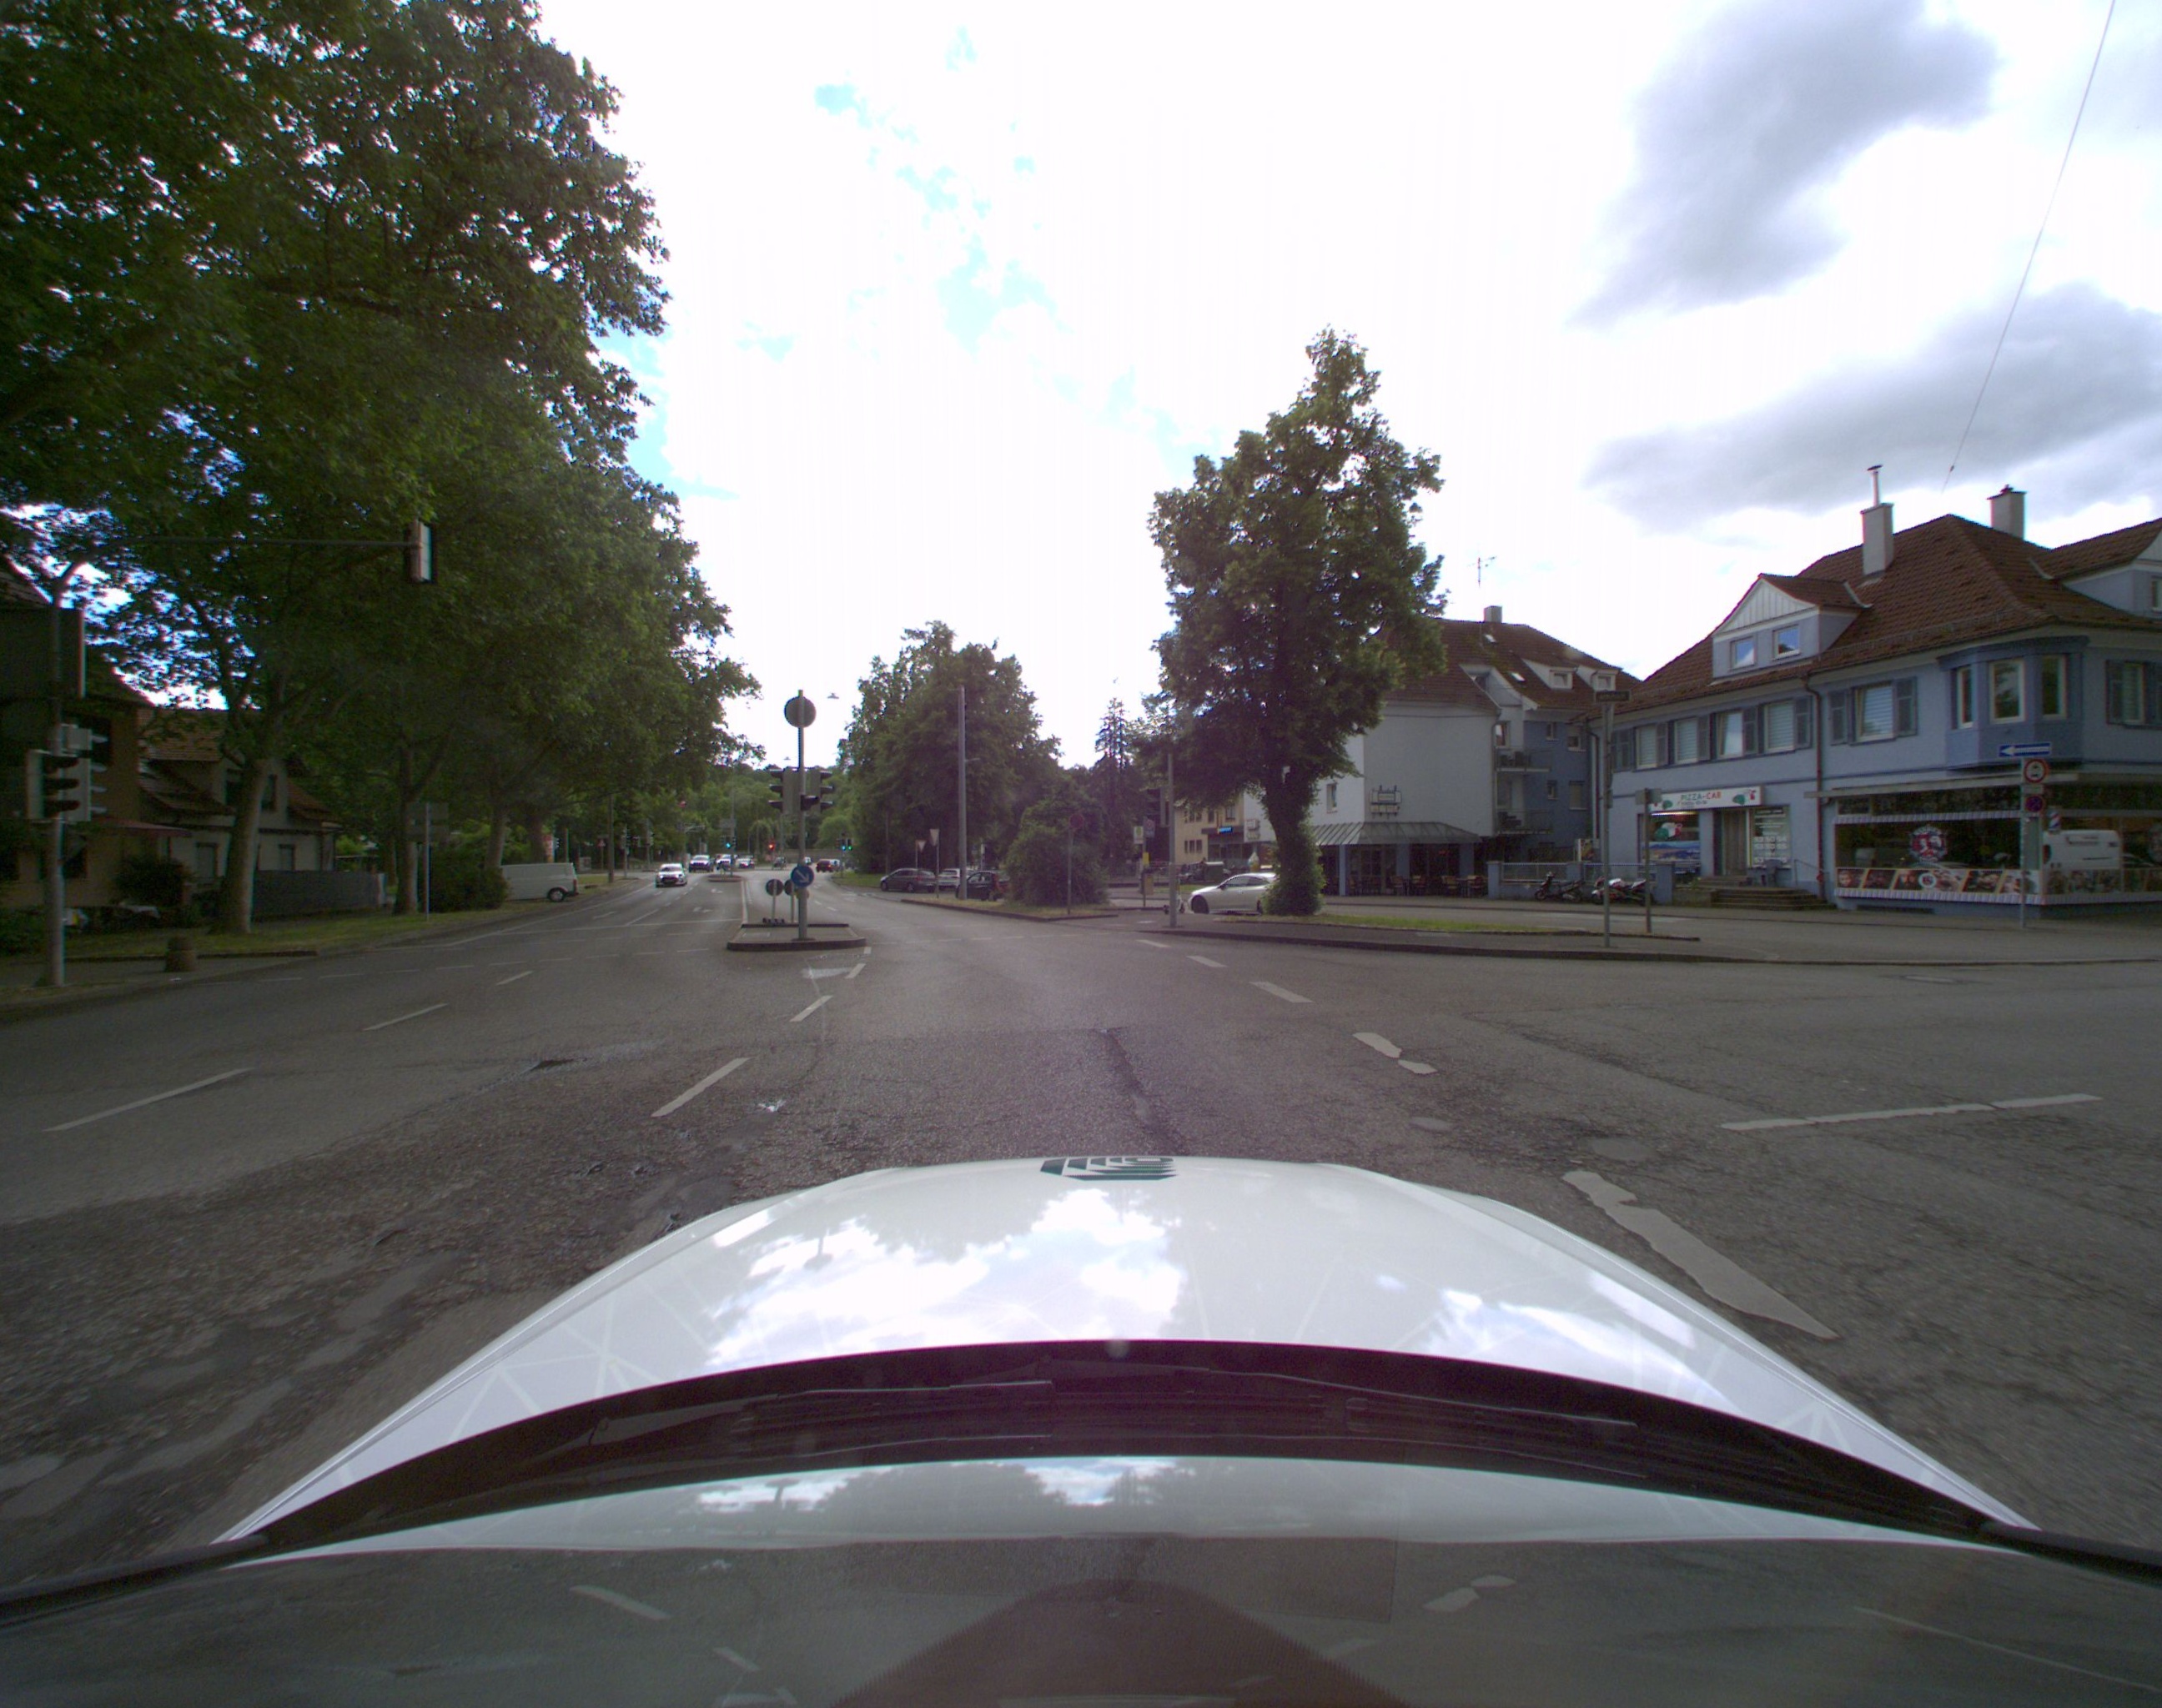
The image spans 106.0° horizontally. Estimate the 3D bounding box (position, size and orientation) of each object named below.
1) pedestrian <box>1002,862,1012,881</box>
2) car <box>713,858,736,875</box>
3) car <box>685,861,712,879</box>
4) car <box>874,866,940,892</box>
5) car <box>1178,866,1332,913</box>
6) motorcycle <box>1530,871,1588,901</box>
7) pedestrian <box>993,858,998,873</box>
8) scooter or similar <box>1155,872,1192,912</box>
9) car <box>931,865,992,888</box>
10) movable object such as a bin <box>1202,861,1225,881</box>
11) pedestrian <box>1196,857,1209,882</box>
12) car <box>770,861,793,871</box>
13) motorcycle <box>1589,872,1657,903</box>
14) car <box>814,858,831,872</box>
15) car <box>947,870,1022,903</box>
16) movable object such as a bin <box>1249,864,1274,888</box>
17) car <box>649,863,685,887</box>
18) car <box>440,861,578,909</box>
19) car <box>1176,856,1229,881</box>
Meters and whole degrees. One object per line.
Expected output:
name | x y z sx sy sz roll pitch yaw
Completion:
pedestrian | -6.080 1.425 66.782 0.685 1.551 0.738 0 0 -18
car | -41.103 1.419 93.976 1.916 1.763 4.725 -1 1 -17
car | -37.268 1.515 79.481 1.801 1.586 4.388 -3 1 -18
car | -10.747 1.513 50.196 4.060 1.429 1.744 1 1 38
car | 5.684 1.151 27.115 2.011 1.386 4.730 -1 -1 -41
motorcycle | 16.978 1.114 28.947 0.491 1.031 1.707 -1 -1 -33
pedestrian | -8.829 1.184 84.308 0.510 1.531 0.776 0 -1 -8
scooter or similar | 2.826 1.153 24.781 0.407 1.167 1.371 -1 -3 40
car | -7.617 1.437 52.415 1.743 1.380 4.287 0 0 26
movable object such as a bin | 9.029 1.173 55.465 1.219 1.345 0.989 -1 -1 -17
pedestrian | 8.435 1.081 56.577 0.689 1.729 0.608 -1 -1 -18
car | -46.061 1.793 125.281 3.051 1.239 1.436 1 13 -8
motorcycle | 17.886 1.079 26.903 0.524 0.985 1.804 0 -1 -33
car | -29.376 1.289 92.620 1.826 1.509 4.548 -1 -1 -17
car | -4.495 1.480 37.793 3.450 1.404 1.583 0 0 42
movable object such as a bin | 11.227 1.363 50.735 1.213 1.416 1.091 -1 -1 -8
car | -27.904 1.426 54.960 1.769 1.466 3.992 -2 -1 -22
car | -27.476 1.416 39.325 5.267 1.931 2.061 -3 1 -36
car | 8.567 1.021 57.523 3.415 1.630 1.618 -1 -1 -11
